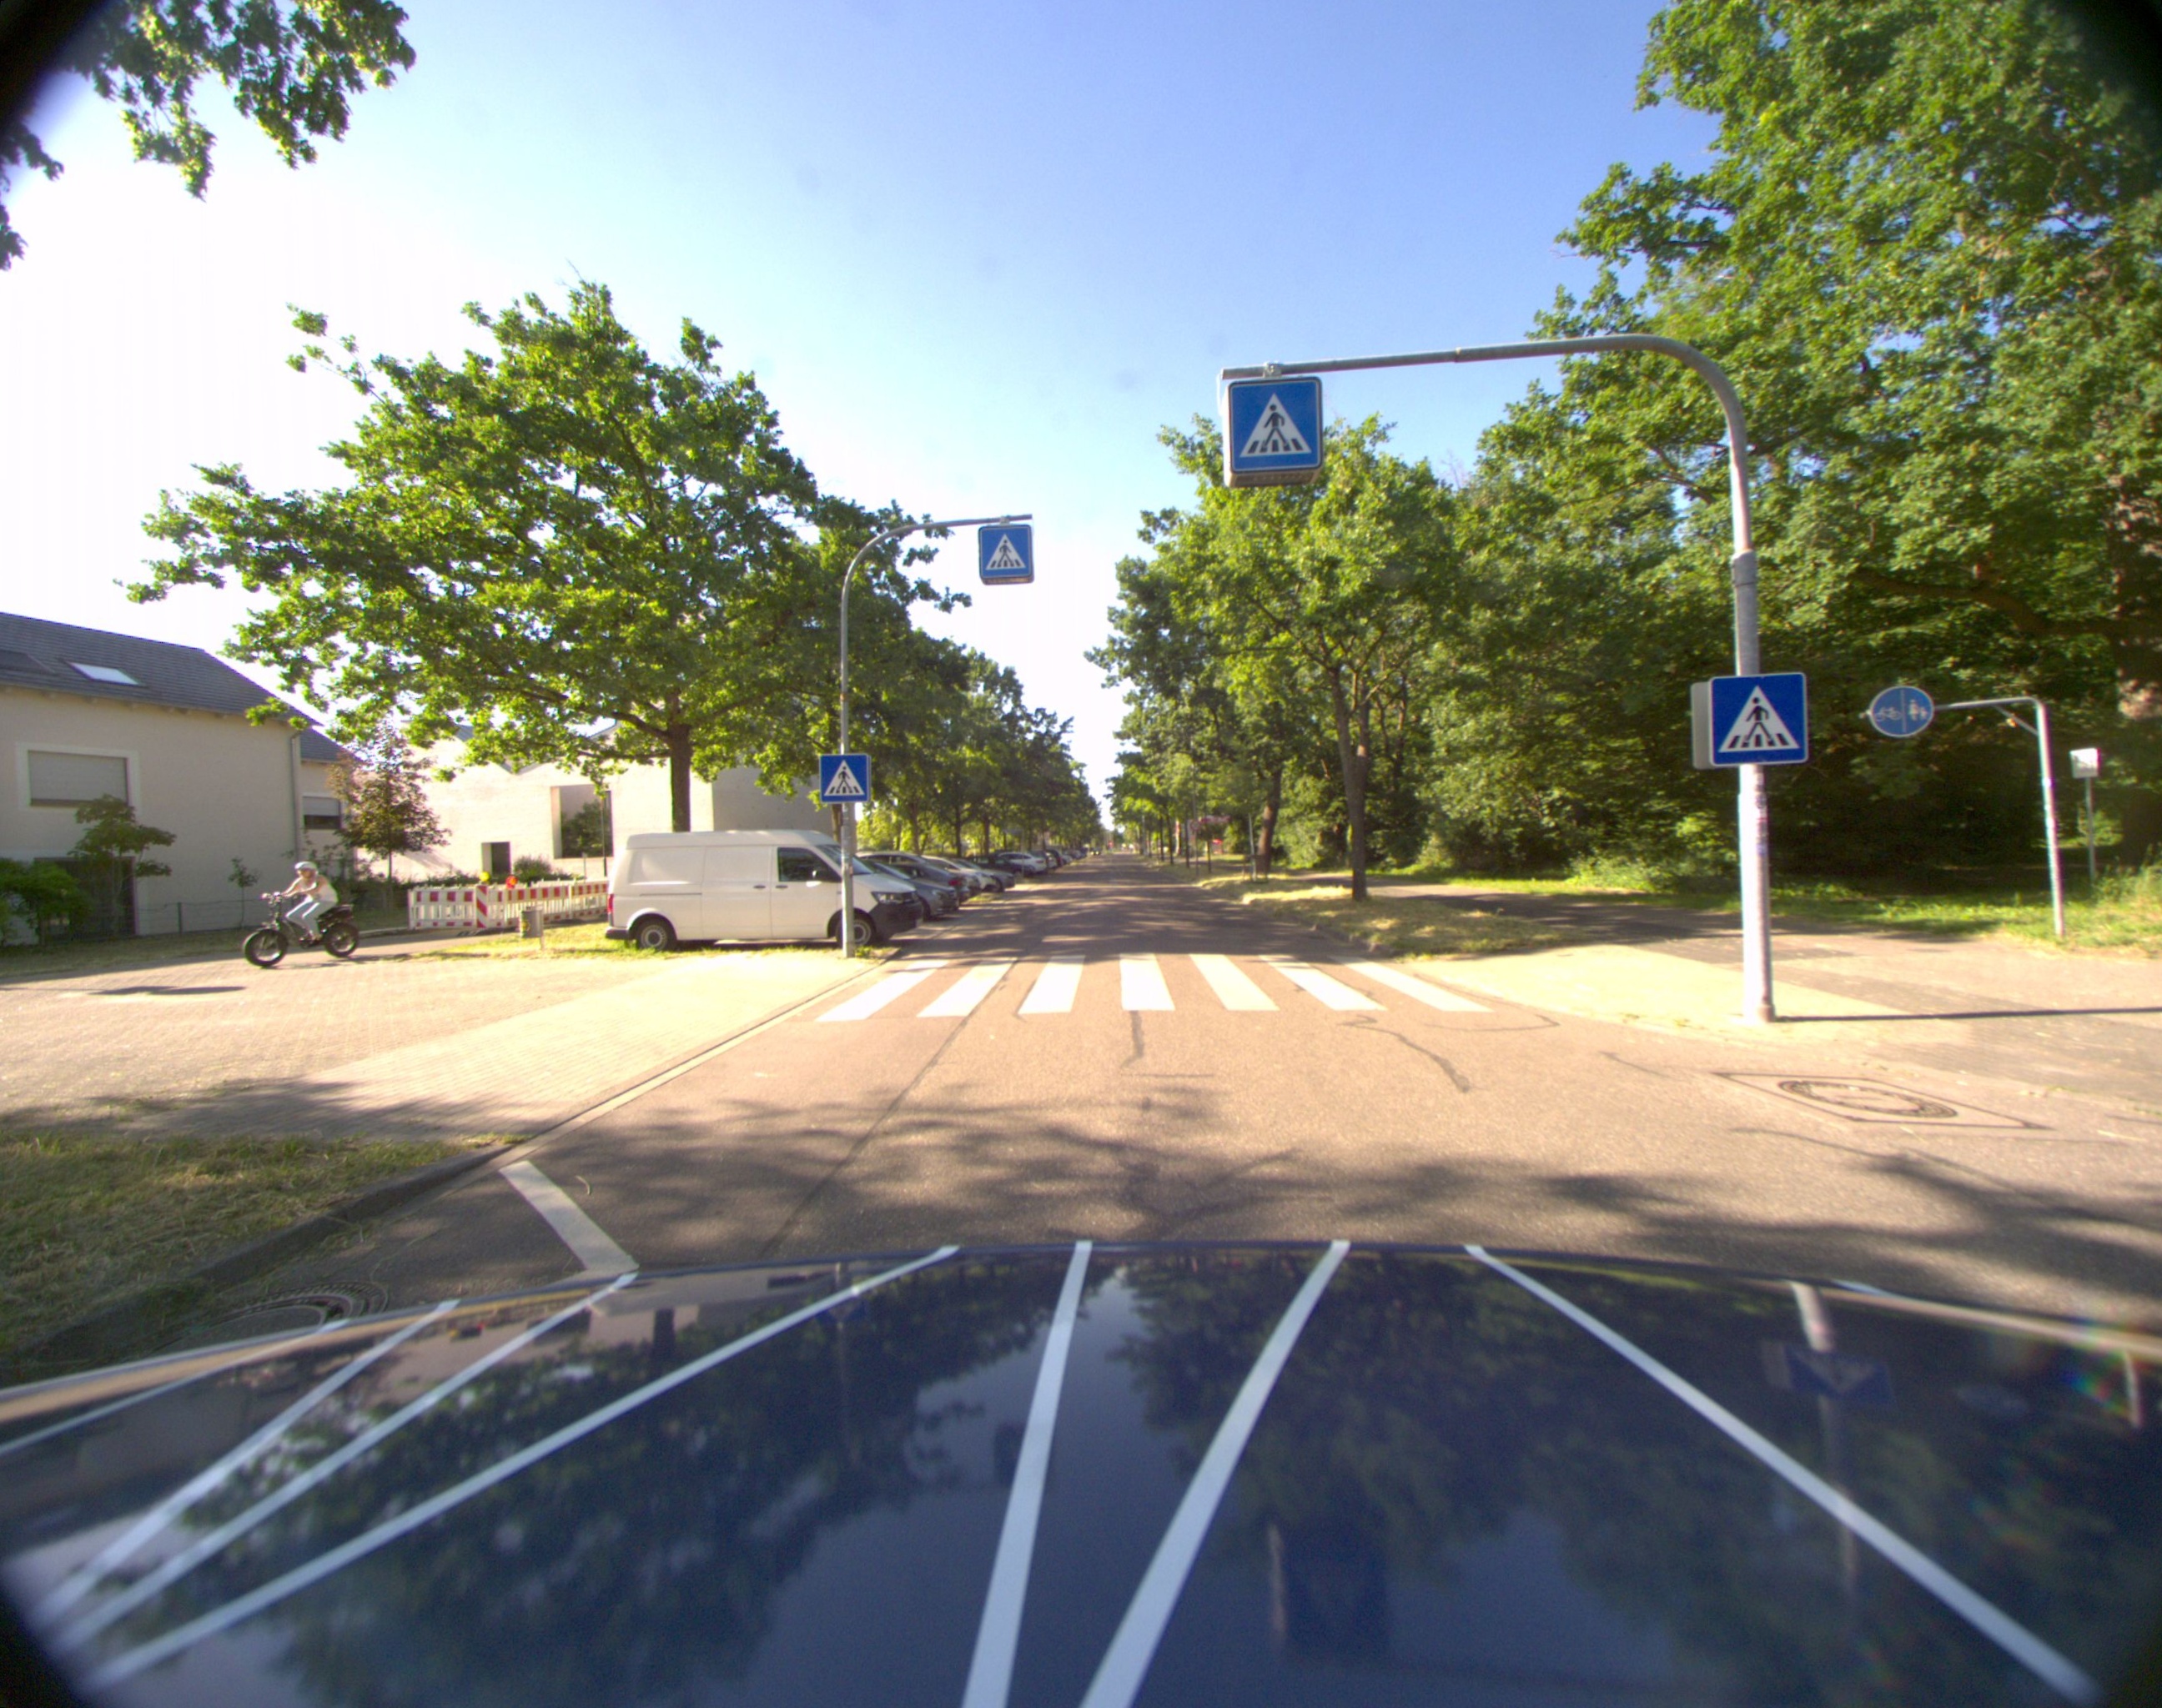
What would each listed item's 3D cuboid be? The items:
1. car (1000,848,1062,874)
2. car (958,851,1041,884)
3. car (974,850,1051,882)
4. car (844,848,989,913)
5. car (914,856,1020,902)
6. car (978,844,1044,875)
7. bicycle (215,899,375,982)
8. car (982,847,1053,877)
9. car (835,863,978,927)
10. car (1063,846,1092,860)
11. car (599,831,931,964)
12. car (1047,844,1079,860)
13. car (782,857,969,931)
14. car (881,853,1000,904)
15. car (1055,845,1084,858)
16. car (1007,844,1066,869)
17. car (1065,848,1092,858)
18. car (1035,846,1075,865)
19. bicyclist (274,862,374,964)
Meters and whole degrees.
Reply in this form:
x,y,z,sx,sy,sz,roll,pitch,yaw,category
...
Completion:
x,y,z,sx,sy,sz,roll,pitch,yaw,category
-3.779,0.526,57.655,4.394,1.733,1.533,-3,1,4,car
-4.620,0.747,43.378,4.394,1.632,1.533,-3,1,4,car
-4.140,0.736,46.395,4.394,1.733,1.533,-3,1,4,car
-5.063,0.793,23.677,4.018,1.783,1.713,-3,1,4,car
-4.654,1.024,31.262,4.018,1.650,1.533,-3,1,4,car
-4.921,0.383,53.842,4.394,1.977,1.533,-3,1,4,car
-13.099,1.405,12.754,0.677,1.144,1.830,-3,1,1,bicycle
-4.193,0.520,50.530,4.394,1.733,1.533,-3,1,4,car
-4.786,1.108,21.119,3.515,1.533,1.448,-3,1,4,car
-0.508,-0.111,112.474,4.151,1.838,1.949,-3,1,3,car
-5.411,0.716,13.483,5.045,2.069,1.891,-1,1,2,car
-2.368,-0.287,101.243,4.151,1.838,1.949,-3,1,3,car
-4.962,0.949,18.662,3.996,1.554,1.758,-3,1,4,car
-5.185,0.896,28.281,4.018,1.669,1.533,-3,1,4,car
-1.771,-0.431,117.573,4.151,1.838,1.949,-3,1,3,car
-3.489,0.176,60.012,4.394,1.733,1.533,-3,1,4,car
-0.432,-0.207,122.560,4.151,1.401,1.800,-3,1,3,car
-2.726,0.175,80.291,3.996,1.838,1.863,-3,1,3,car
-13.119,1.003,13.199,0.726,1.656,0.849,-3,2,1,bicyclist
